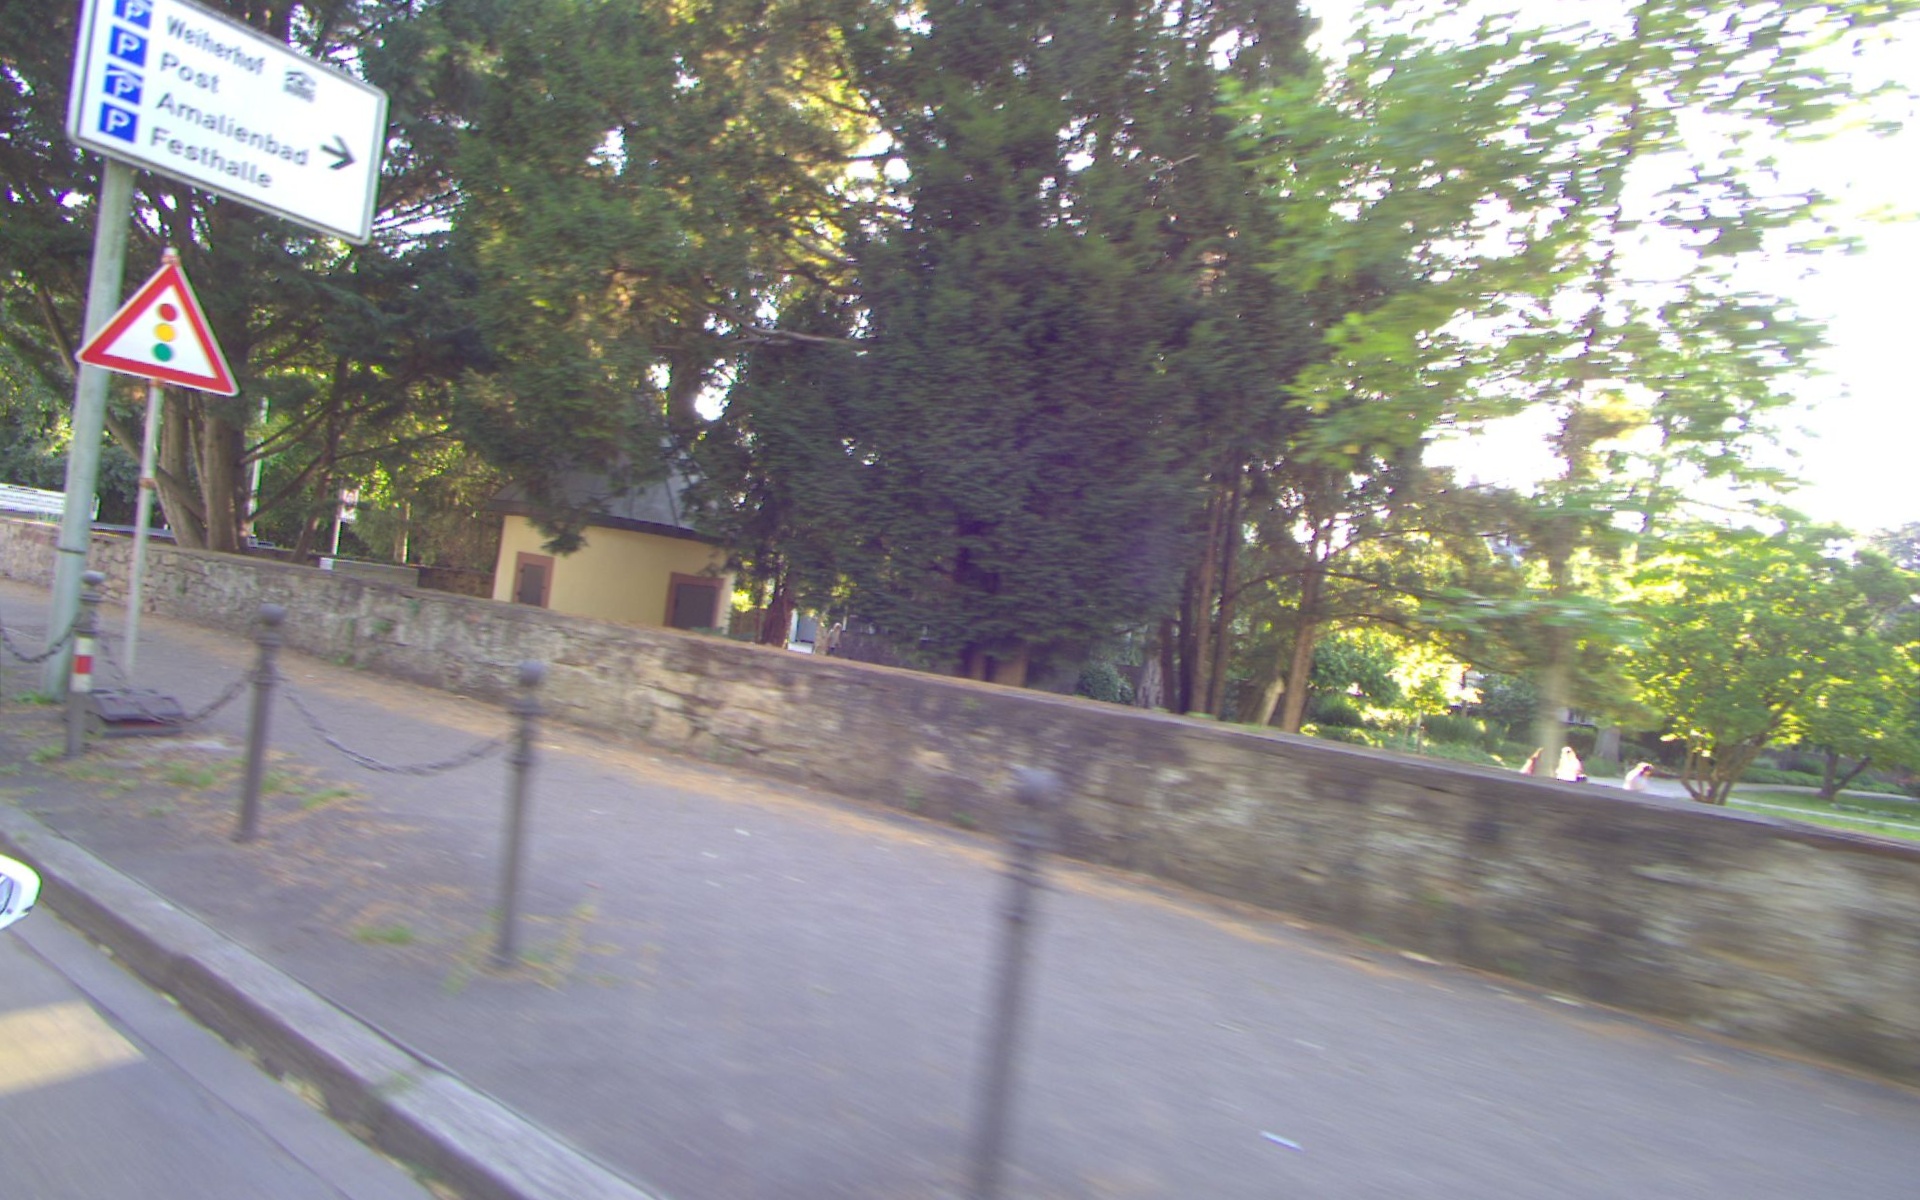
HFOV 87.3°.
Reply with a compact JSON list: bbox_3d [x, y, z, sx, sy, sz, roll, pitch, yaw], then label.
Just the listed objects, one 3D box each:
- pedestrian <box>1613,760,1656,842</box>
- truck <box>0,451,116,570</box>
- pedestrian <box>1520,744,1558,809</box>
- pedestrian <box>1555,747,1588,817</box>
[{"bbox_3d":[14.901,4.424,22.236,0.626,1.658,0.616,7,-3,33],"label":"pedestrian"},{"bbox_3d":[-28.050,-2.847,27.808,2.396,2.926,6.595,7,-3,37],"label":"truck"},{"bbox_3d":[15.826,4.805,27.500,0.748,1.636,0.566,7,-2,31],"label":"pedestrian"},{"bbox_3d":[16.438,4.879,27.064,0.588,1.748,0.591,7,-3,32],"label":"pedestrian"}]
